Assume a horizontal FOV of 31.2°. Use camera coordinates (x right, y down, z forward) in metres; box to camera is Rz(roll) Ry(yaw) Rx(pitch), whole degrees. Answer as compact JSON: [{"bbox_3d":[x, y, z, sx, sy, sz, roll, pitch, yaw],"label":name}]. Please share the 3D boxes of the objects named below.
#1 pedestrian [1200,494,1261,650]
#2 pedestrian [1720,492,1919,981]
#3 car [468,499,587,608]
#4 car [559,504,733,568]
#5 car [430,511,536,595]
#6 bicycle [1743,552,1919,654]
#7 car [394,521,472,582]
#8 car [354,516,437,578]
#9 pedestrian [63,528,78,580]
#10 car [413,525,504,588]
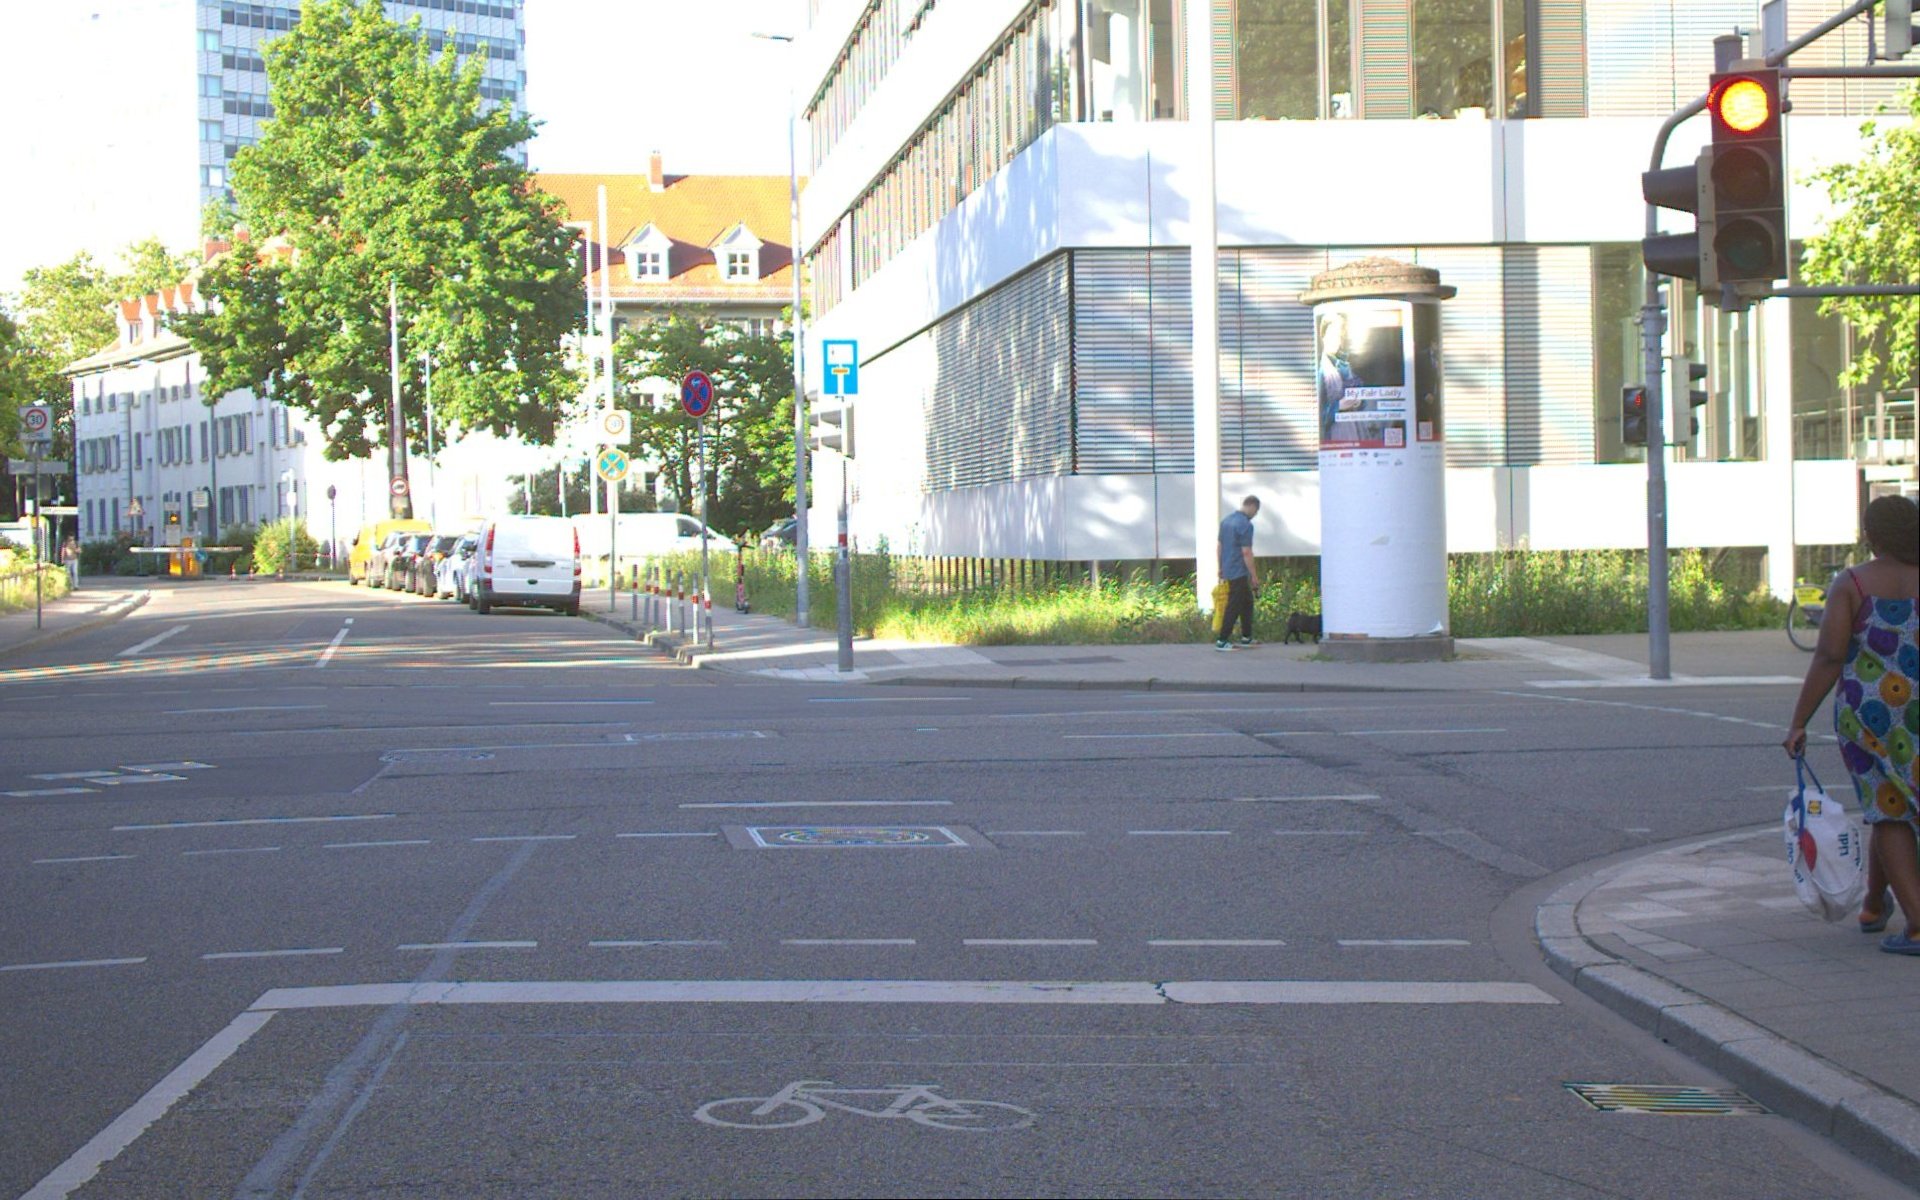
[{"bbox_3d":[3.048,-0.325,38.777,0.652,1.730,0.812,-1,1,4],"label":"pedestrian"},{"bbox_3d":[3.218,0.427,11.686,0.954,1.568,0.750,-4,1,-5],"label":"pedestrian"},{"bbox_3d":[-8.170,-0.890,64.670,2.066,1.956,4.239,-1,1,-9],"label":"car"},{"bbox_3d":[-9.407,-1.895,102.829,4.880,1.865,2.001,0,0,-17],"label":"car"},{"bbox_3d":[-10.646,-1.062,76.468,1.946,1.789,4.239,-1,1,-13],"label":"car"},{"bbox_3d":[9.181,0.024,36.147,0.463,1.045,1.914,-2,2,-42],"label":"bicycle"},{"bbox_3d":[-13.192,-1.224,85.864,1.703,1.459,4.239,-1,1,-11],"label":"car"},{"bbox_3d":[-15.742,-1.494,95.685,2.100,1.652,4.477,-1,1,-11],"label":"car"},{"bbox_3d":[-26.115,-1.359,100.930,0.380,1.529,0.446,-1,1,-12],"label":"pedestrian"},{"bbox_3d":[-11.901,-1.040,81.391,1.703,1.419,4.239,-1,1,-14],"label":"car"}]
